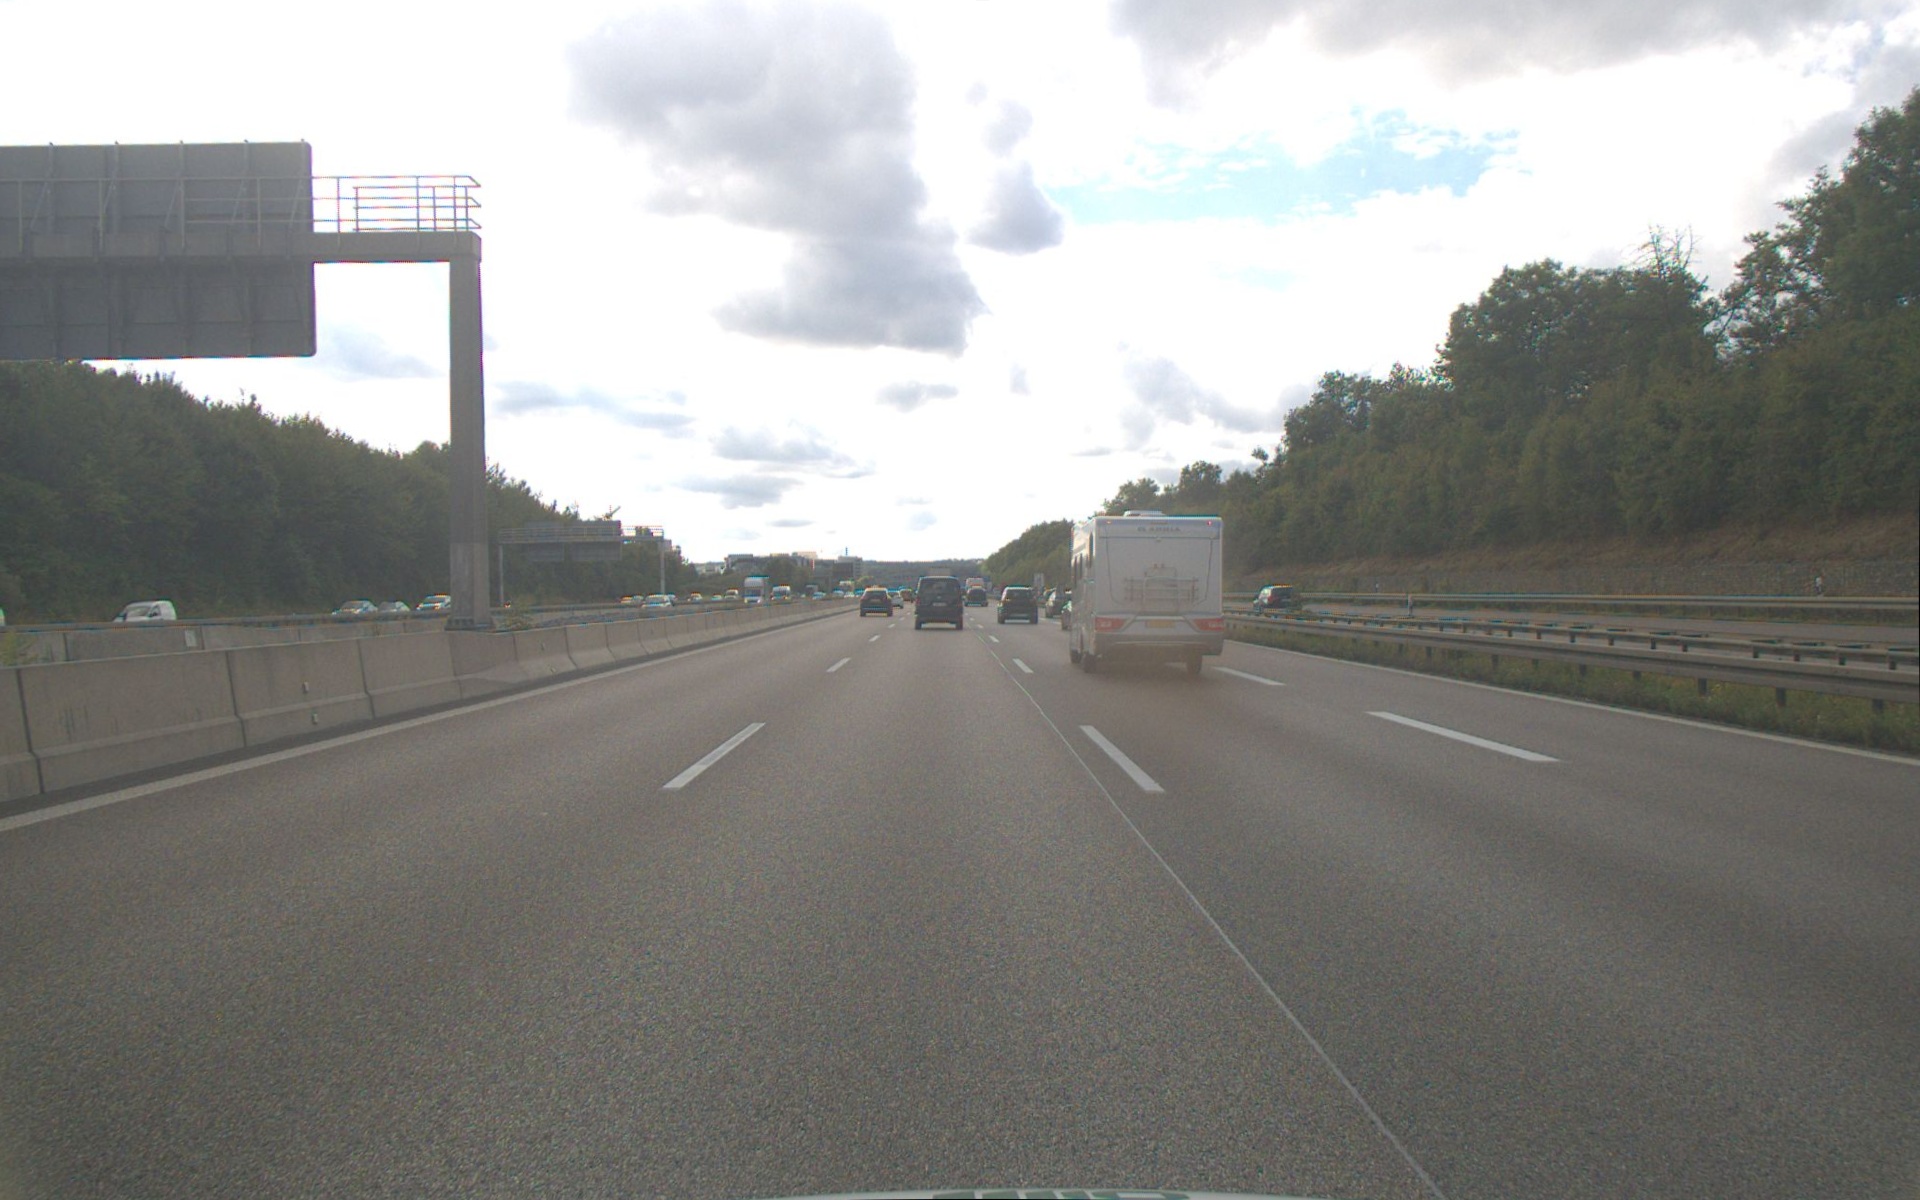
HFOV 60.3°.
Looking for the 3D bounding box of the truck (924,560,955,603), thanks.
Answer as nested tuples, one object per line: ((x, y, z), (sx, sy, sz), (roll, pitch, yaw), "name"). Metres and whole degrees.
((-2.231, -1.983, 180.430), (3.197, 4.451, 11.024), (0, 0, -1), "truck")

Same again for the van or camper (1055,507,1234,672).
((3.325, -0.203, 31.659), (2.418, 2.769, 7.660), (0, 0, -1), "van or camper")

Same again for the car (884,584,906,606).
((-5.156, -0.408, 131.047), (1.663, 1.639, 4.112), (0, 0, -2), "car")

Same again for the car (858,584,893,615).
((-4.818, -0.046, 94.831), (1.835, 1.727, 4.071), (0, 0, -1), "car")

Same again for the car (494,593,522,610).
((-42.851, 0.139, 156.857), (1.560, 1.520, 4.179), (-1, 0, -2), "car")

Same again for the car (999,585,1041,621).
((2.757, 0.140, 76.260), (1.663, 1.592, 4.112), (0, 0, -2), "car")

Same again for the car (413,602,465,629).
((-34.743, 1.019, 110.359), (1.953, 1.620, 4.767), (-1, 1, 0), "car")

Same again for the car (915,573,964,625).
((-0.811, -0.049, 63.884), (1.817, 1.944, 4.259), (0, 0, -1), "car")

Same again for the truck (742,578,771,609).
((-22.544, -0.708, 183.467), (2.306, 3.320, 7.824), (-1, 0, -1), "truck")

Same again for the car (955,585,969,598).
((0.271, -1.093, 214.967), (1.716, 1.725, 4.189), (0, 0, -1), "car")

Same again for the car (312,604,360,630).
((-37.969, 1.007, 100.769), (1.472, 1.452, 4.108), (-1, 0, -2), "car")

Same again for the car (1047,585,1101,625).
((4.377, 0.171, 64.113), (1.686, 1.505, 4.390), (0, 0, -1), "car")

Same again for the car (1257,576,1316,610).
((15.692, -0.370, 79.700), (1.806, 1.510, 4.525), (-3, 1, -1), "car")

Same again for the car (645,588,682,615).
((-21.384, 0.091, 119.548), (1.797, 1.817, 5.502), (-1, 0, -2), "car")

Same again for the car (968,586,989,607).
((1.706, -0.364, 156.316), (1.874, 1.952, 4.029), (0, 0, -1), "car")

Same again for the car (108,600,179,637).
((-41.516, 0.924, 84.203), (1.560, 1.788, 4.281), (-1, 0, -2), "car")

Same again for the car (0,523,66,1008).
((-4.194, 0.591, 3.336), (1.873, 1.664, 5.499), (0, 0, -1), "car")
